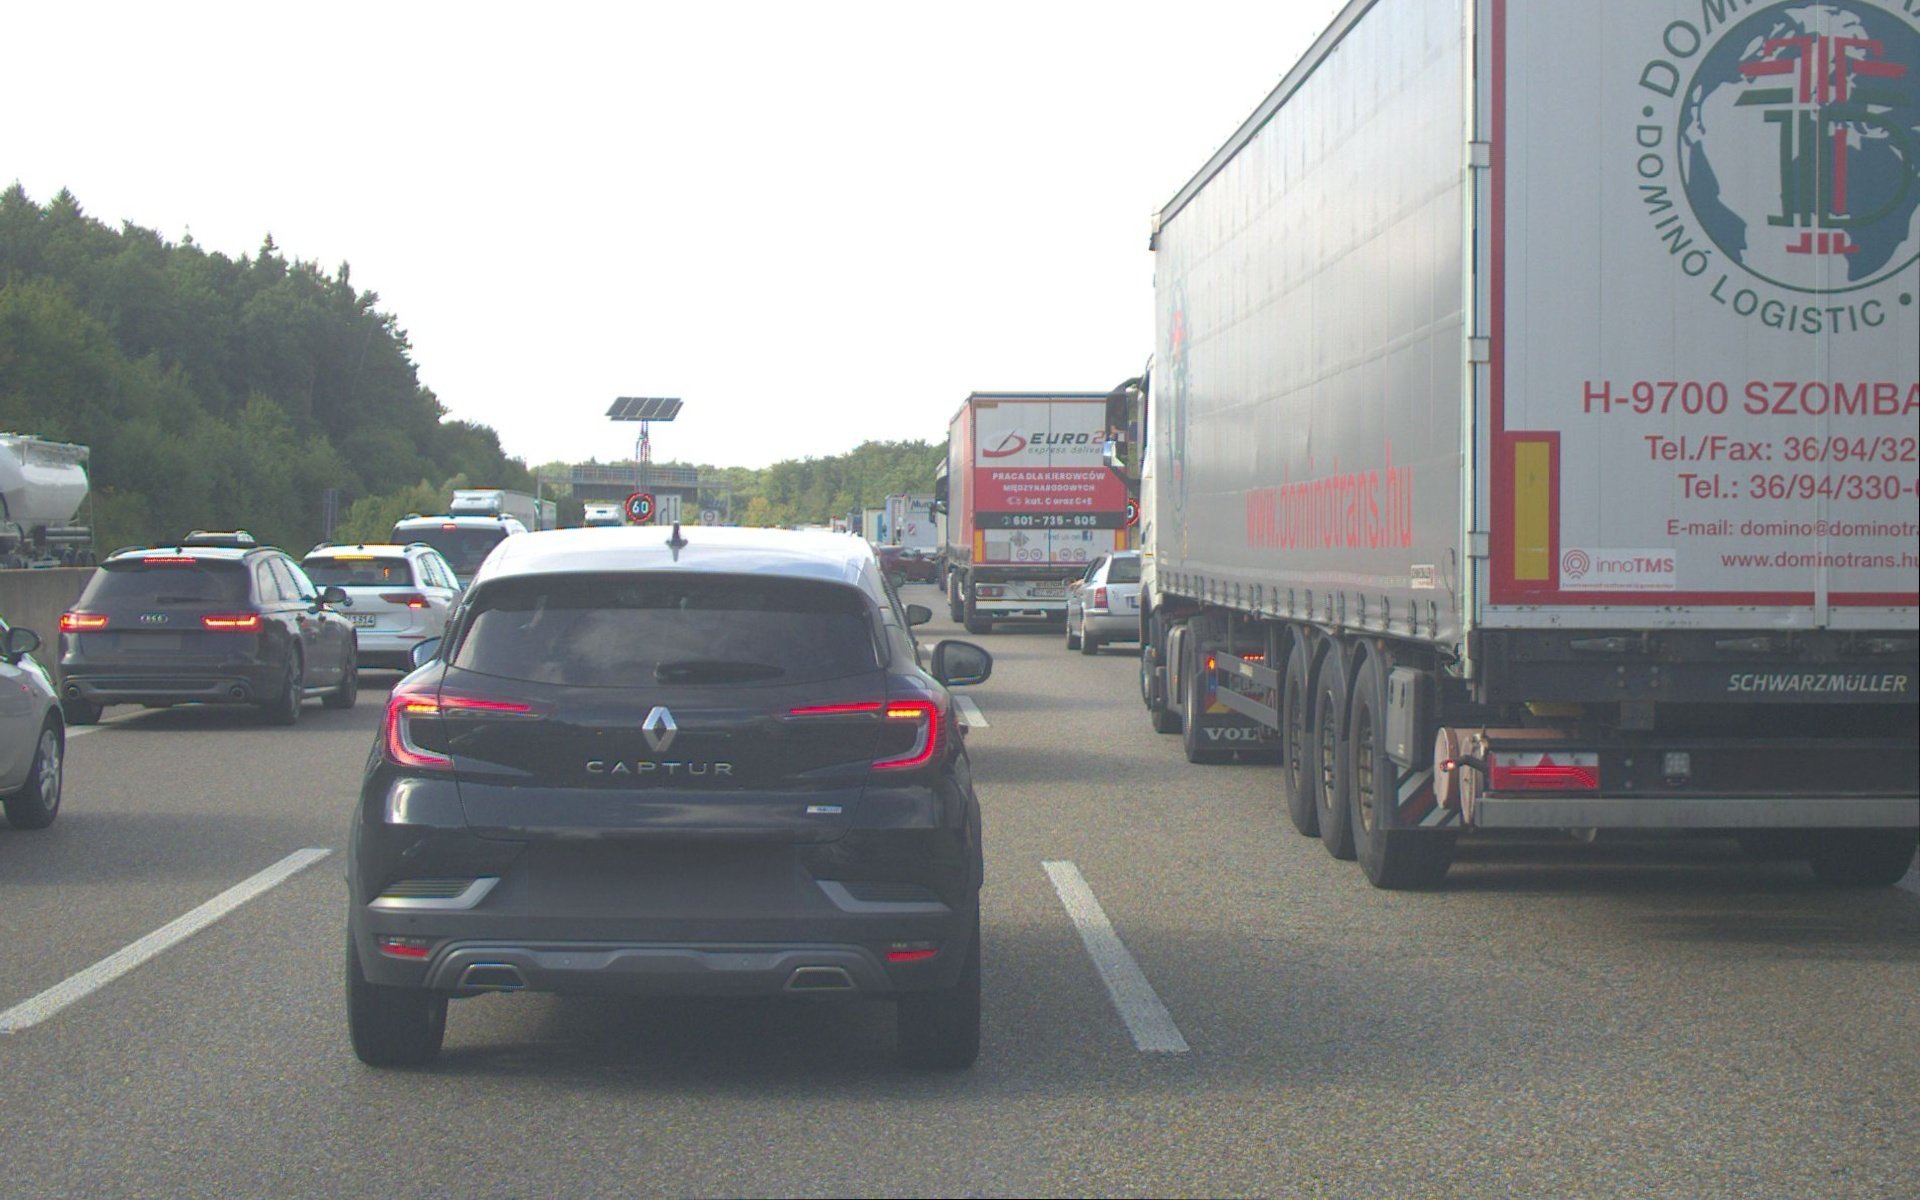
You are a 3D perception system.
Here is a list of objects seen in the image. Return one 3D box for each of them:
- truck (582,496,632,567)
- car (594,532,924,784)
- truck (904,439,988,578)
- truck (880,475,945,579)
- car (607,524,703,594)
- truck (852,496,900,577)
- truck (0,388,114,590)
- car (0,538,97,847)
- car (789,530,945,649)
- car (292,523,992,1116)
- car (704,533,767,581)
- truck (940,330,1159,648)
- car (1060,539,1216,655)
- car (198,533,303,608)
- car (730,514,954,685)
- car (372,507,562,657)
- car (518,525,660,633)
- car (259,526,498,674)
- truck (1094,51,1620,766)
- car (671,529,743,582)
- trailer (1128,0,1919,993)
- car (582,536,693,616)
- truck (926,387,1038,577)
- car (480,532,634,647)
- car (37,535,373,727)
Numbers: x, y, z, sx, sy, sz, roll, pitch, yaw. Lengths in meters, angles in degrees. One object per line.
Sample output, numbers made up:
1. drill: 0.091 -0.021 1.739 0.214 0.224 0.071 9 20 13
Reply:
1. truck: -25.754 -4.966 251.174 3.088 5.083 7.142 1 0 -2
2. car: -1.256 0.334 22.958 1.993 1.509 4.000 1 1 -1
3. truck: -0.492 -3.699 142.705 3.166 5.486 12.737 1 1 1
4. truck: -2.424 -3.714 177.594 3.166 5.142 12.738 1 1 -1
5. car: -7.231 -0.997 81.827 1.993 1.607 4.000 1 1 -1
6. truck: -5.838 -4.383 240.794 3.166 5.486 12.738 1 1 -1
7. truck: -22.286 -2.458 78.435 2.932 4.339 13.912 1 1 -2
8. car: -5.441 0.448 16.340 1.747 1.460 4.041 0 1 -1
9. car: -1.236 -0.154 46.384 1.993 1.509 4.000 1 1 -1
10. car: -0.819 0.546 11.033 1.804 1.547 4.000 0 1 1
11. car: -7.788 -1.513 119.521 1.993 1.607 4.000 1 1 -1
12. truck: 1.396 -1.833 61.339 3.365 5.027 12.738 1 1 -1
13. car: 2.447 -0.062 48.018 1.804 1.527 3.926 1 1 -2
14. car: -17.831 -0.759 86.529 1.852 1.803 4.324 1 1 -2
15. car: -1.094 -0.020 32.896 1.993 1.509 4.000 1 1 -1
16. car: -6.165 -0.238 43.449 1.911 1.783 4.418 1 1 -2
17. car: -6.199 -0.361 57.840 1.993 1.716 4.000 1 1 -1
18. car: -6.061 -0.023 36.275 1.804 1.456 4.309 0 1 0
19. truck: 2.713 -1.303 25.475 2.997 4.651 5.940 0 1 -2
20. car: -7.873 -1.393 107.080 1.993 1.607 4.000 1 1 -1
21. trailer: 2.944 -1.135 18.140 3.002 4.645 13.291 1 1 -2
22. car: -6.701 -0.505 71.830 1.993 1.607 4.000 1 1 -1
23. truck: 0.572 -3.511 106.471 3.166 5.486 12.738 1 1 -1
24. car: -5.987 -0.174 51.475 1.855 1.635 3.926 1 1 0
25. car: -6.229 0.198 28.883 1.843 1.451 4.748 1 1 -1
